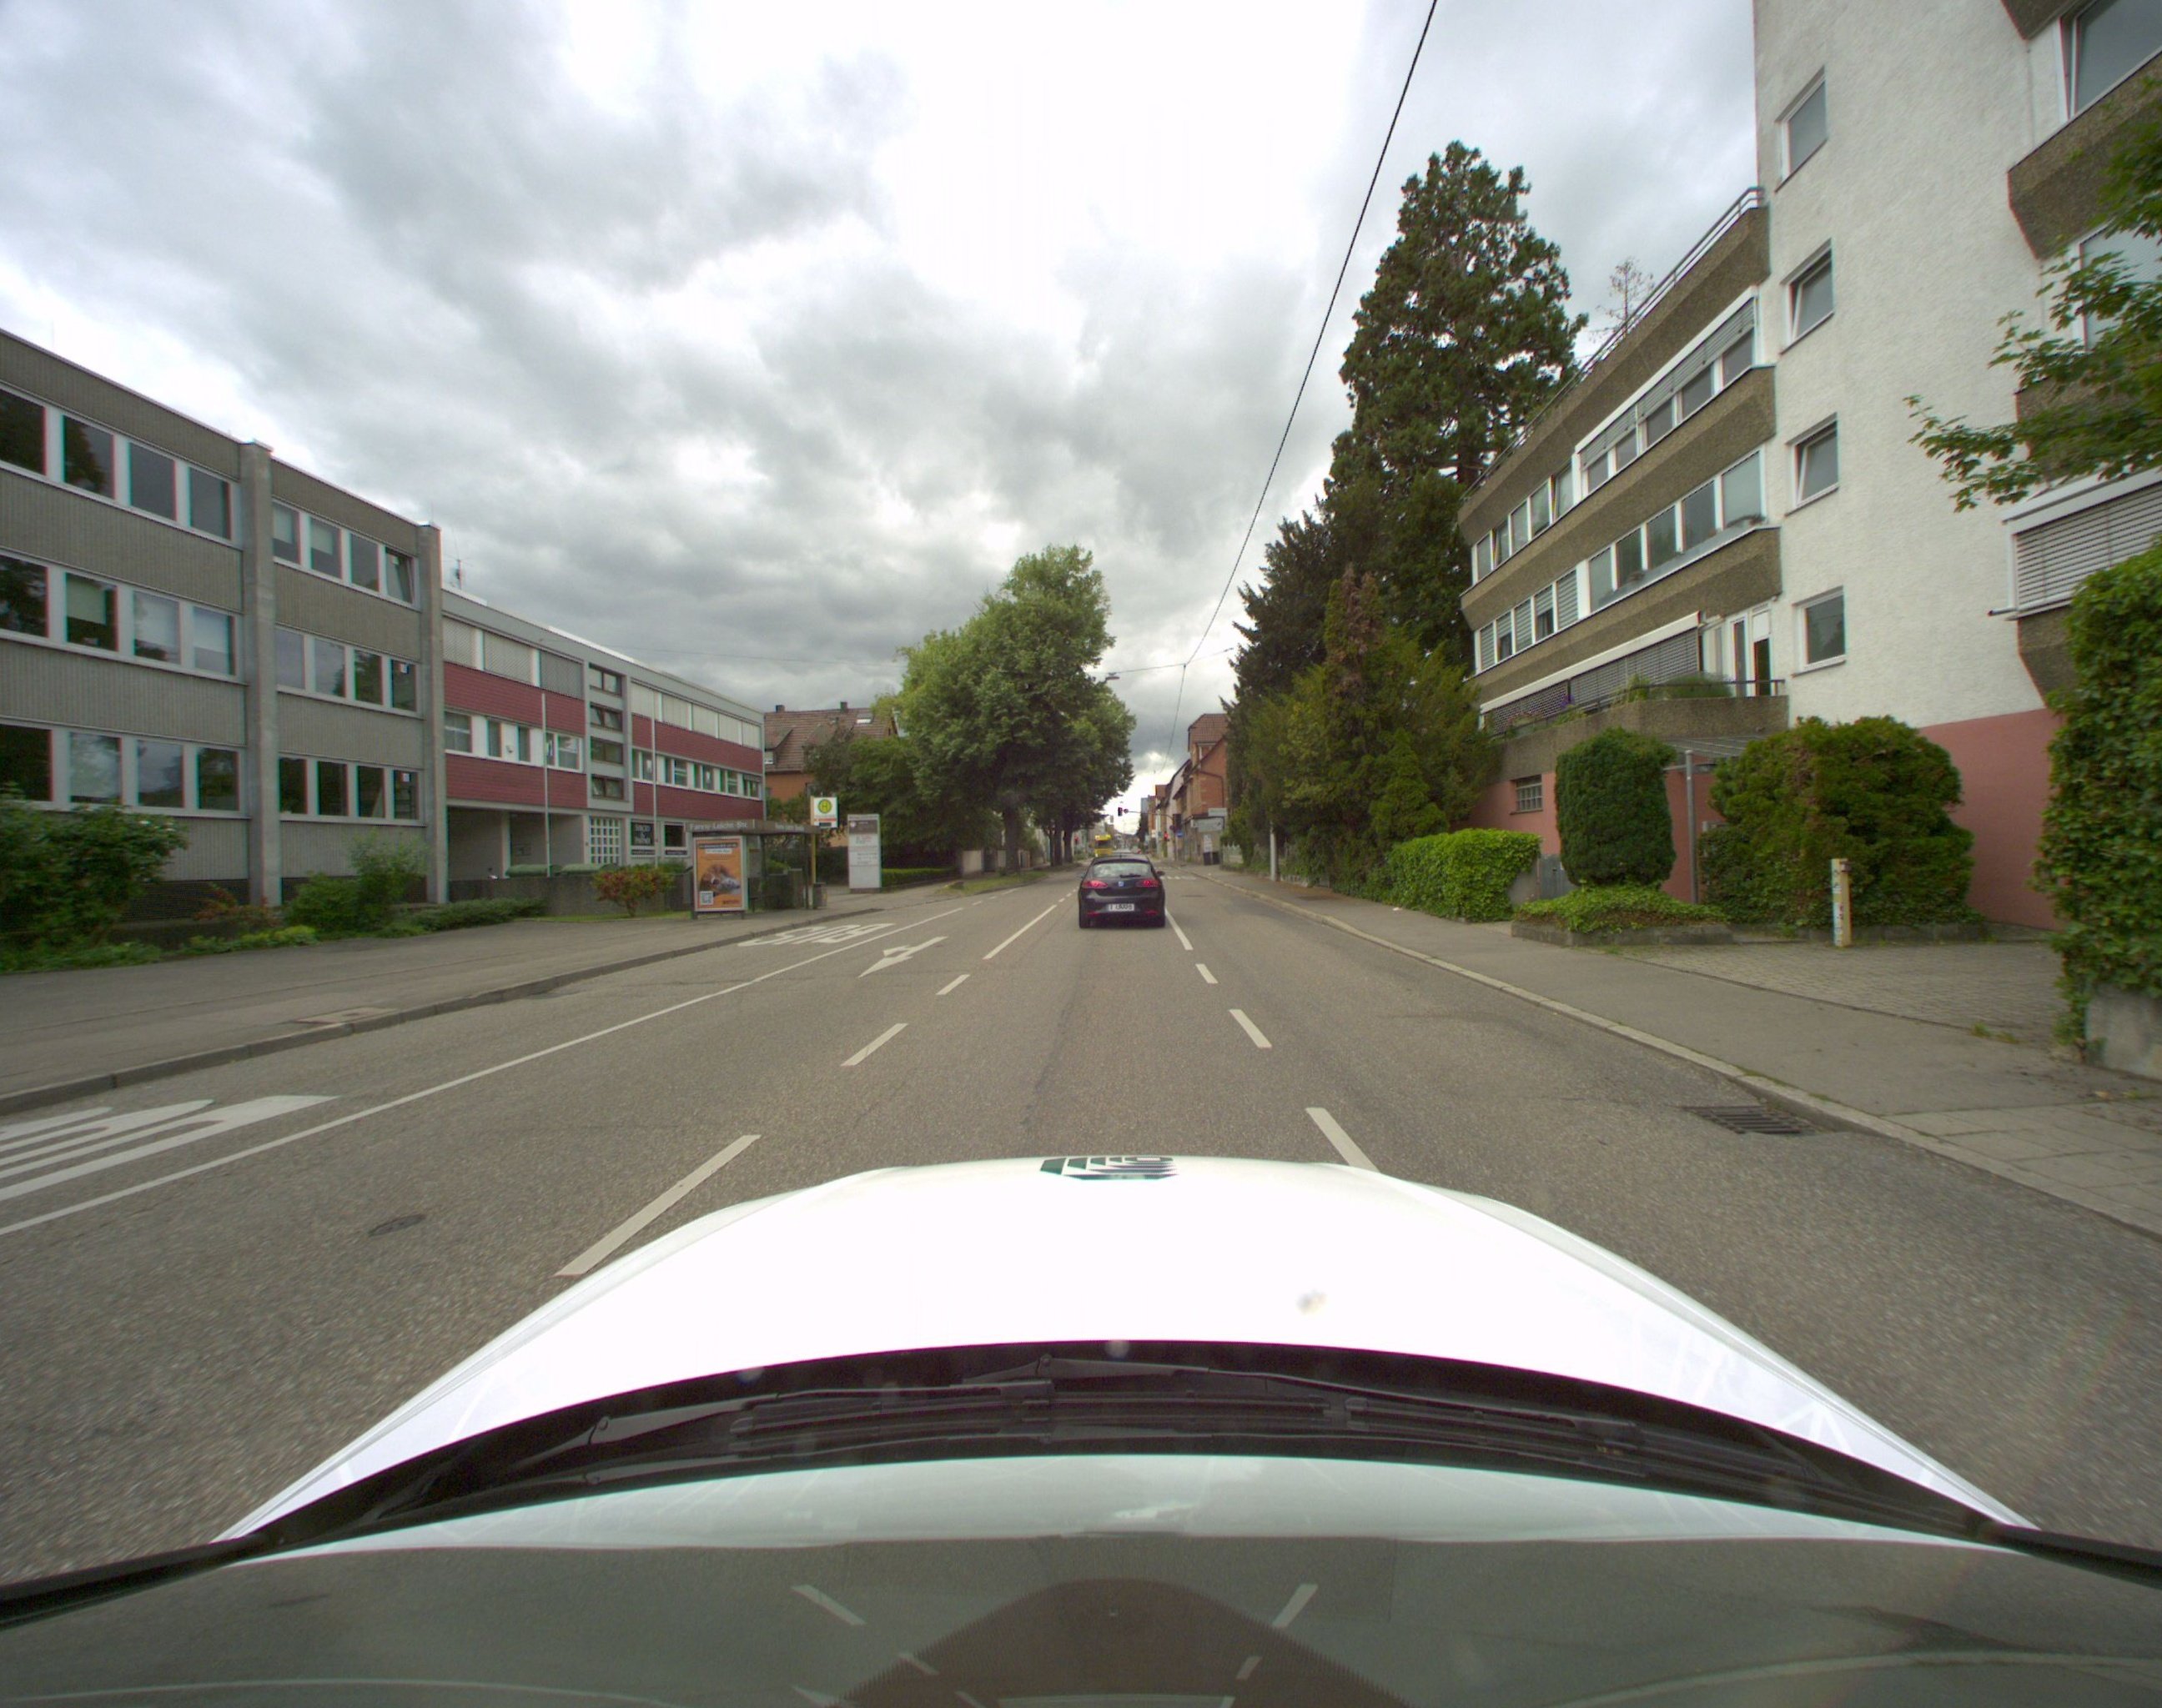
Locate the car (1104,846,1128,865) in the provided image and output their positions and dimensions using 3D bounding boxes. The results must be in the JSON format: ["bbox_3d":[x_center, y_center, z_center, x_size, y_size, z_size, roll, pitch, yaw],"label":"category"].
[{"bbox_3d":[3.081,0.107,72.742,1.935,1.481,4.253,-3,1,1],"label":"car"}]

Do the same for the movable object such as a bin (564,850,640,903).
[{"bbox_3d":[-19.788,0.911,33.706,1.986,2.013,1.787,-3,1,2],"label":"movable object such as a bin"}]

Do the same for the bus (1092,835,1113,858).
[{"bbox_3d":[3.124,-1.095,116.636,2.858,3.136,6.401,-3,1,2],"label":"bus"}]

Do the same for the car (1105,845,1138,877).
[{"bbox_3d":[2.502,0.366,49.087,1.811,1.699,4.258,-3,1,4],"label":"car"}]

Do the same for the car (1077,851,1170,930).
[{"bbox_3d":[0.807,0.684,17.354,1.754,1.448,3.713,0,1,-1],"label":"car"}]

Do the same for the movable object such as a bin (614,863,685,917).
[{"bbox_3d":[-17.764,1.461,33.567,1.986,2.013,1.543,-3,1,2],"label":"movable object such as a bin"}]
